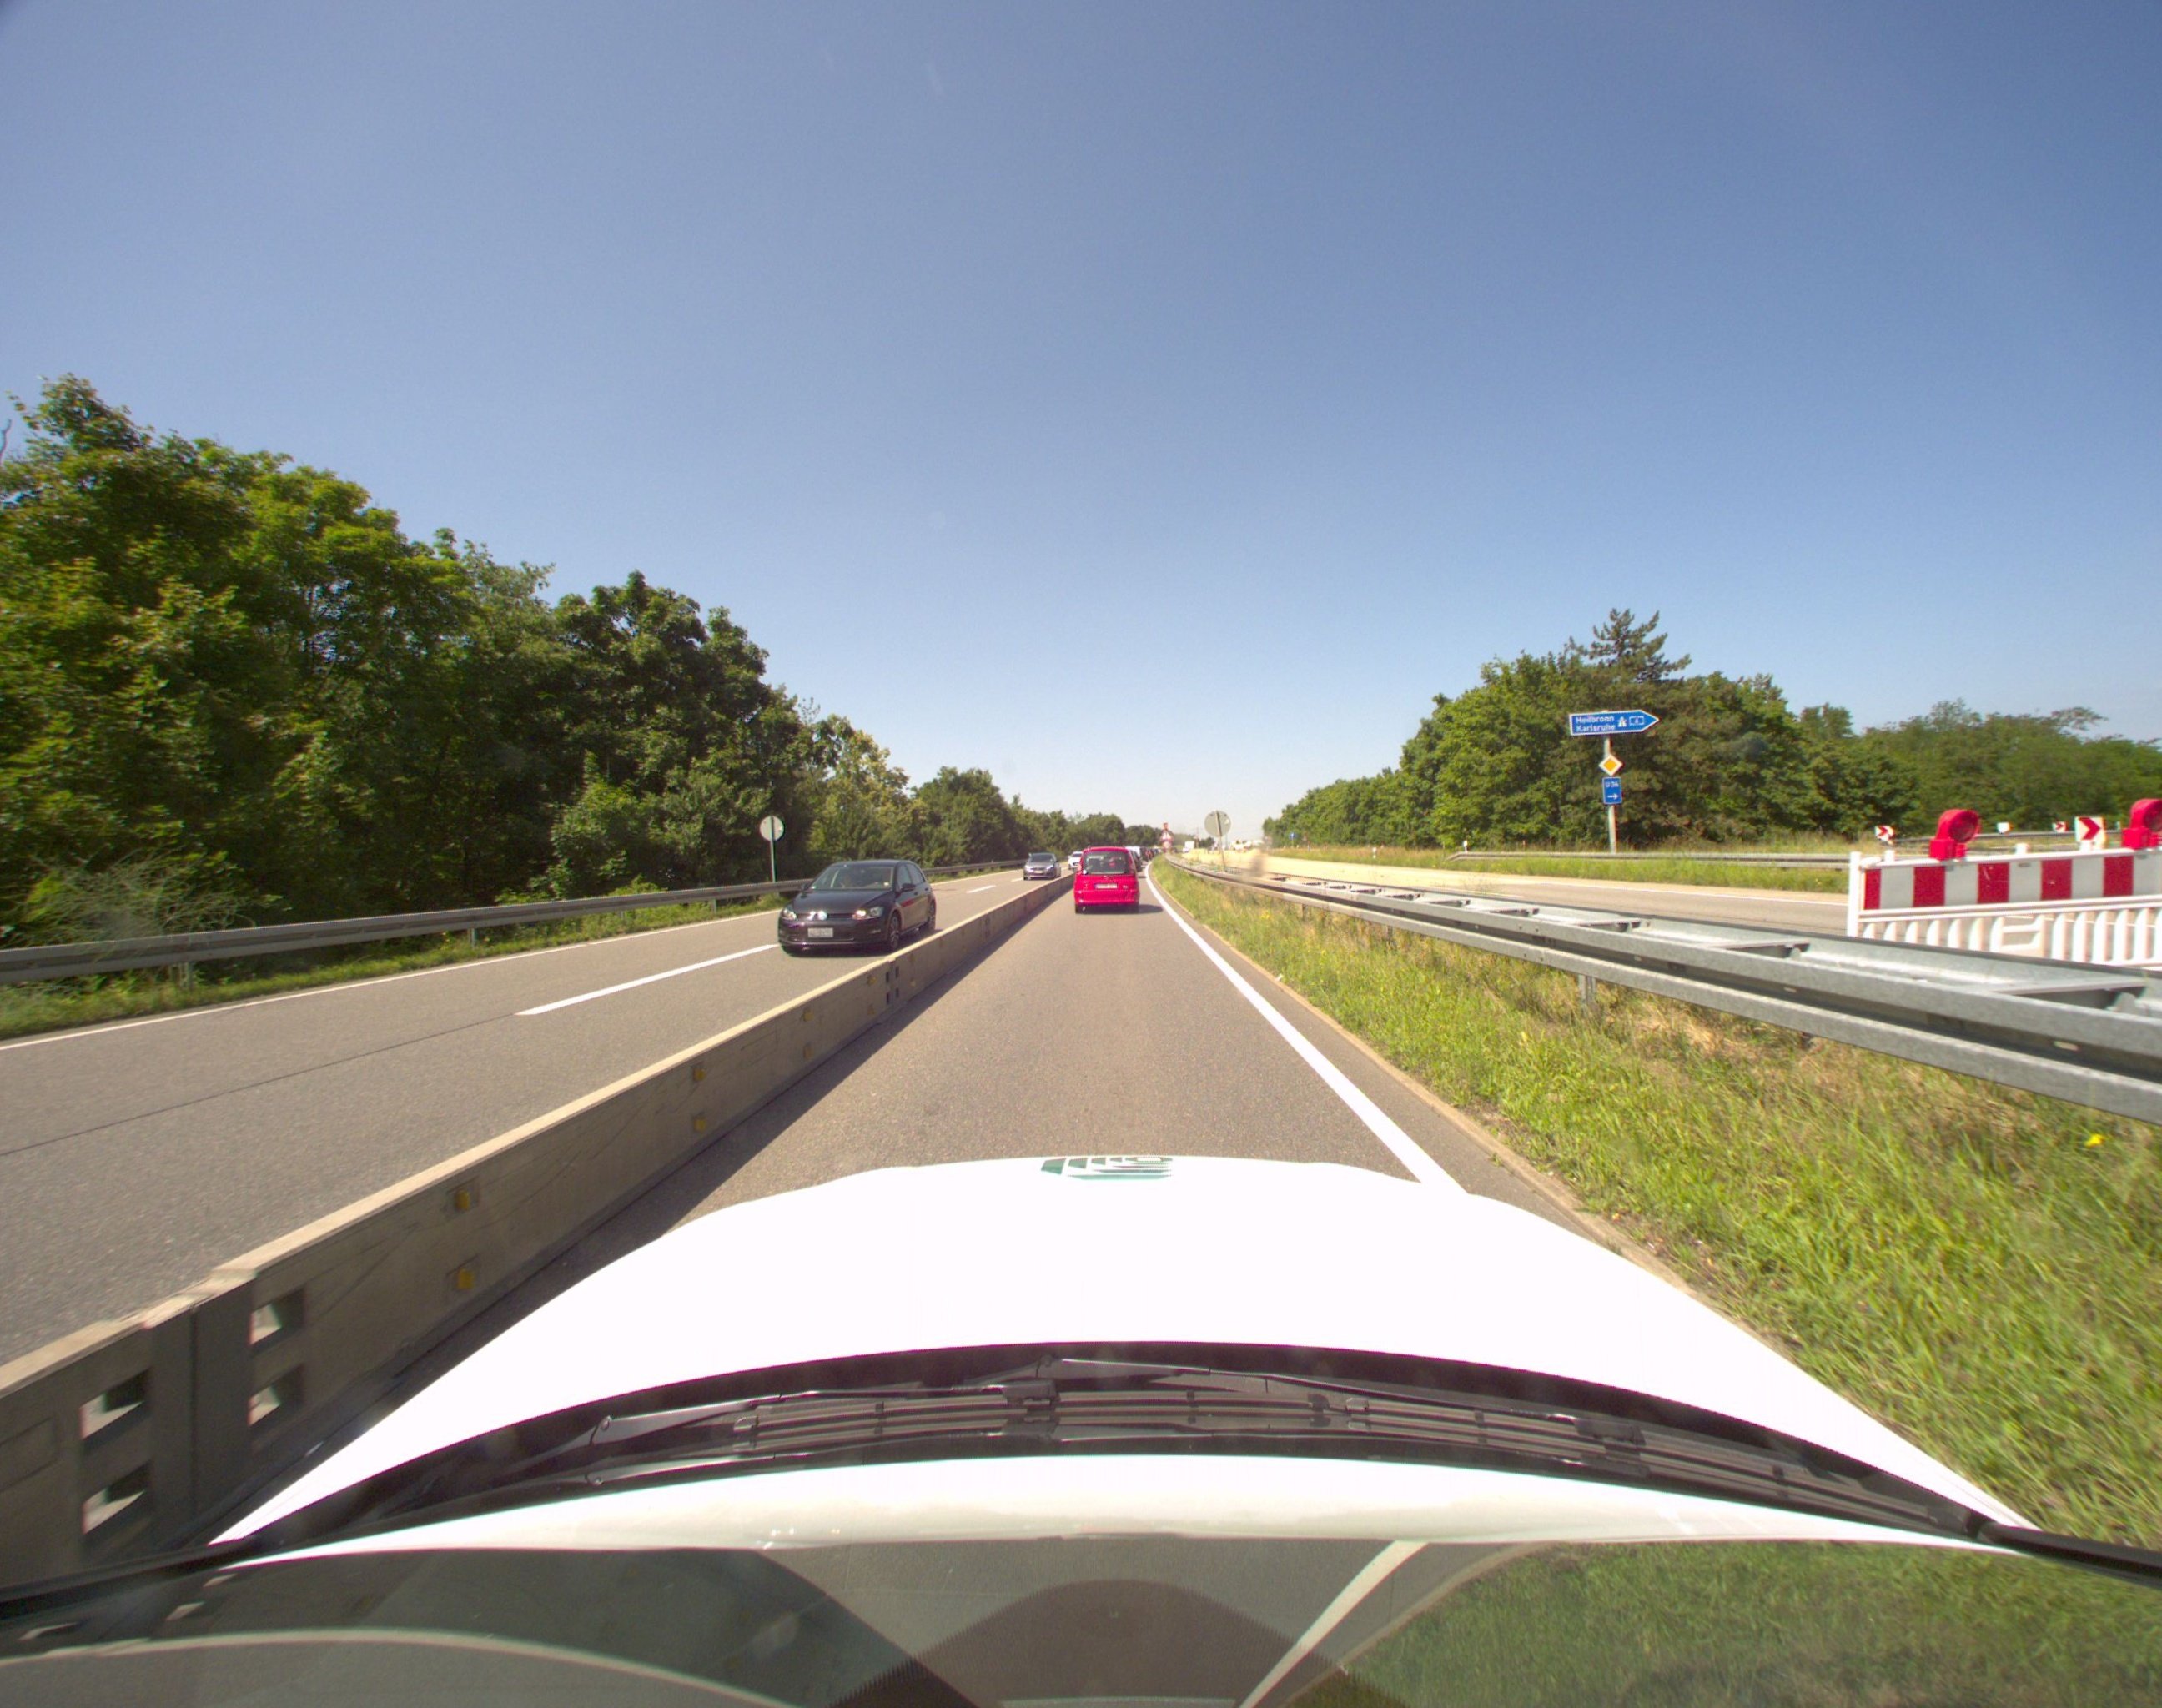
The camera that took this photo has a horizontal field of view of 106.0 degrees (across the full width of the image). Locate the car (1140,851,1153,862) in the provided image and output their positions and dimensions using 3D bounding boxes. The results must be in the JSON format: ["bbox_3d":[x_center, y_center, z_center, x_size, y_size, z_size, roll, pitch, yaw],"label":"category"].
[{"bbox_3d":[10.012,0.349,125.230,1.985,1.585,4.004,-1,0,4],"label":"car"}]

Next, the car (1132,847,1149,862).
[{"bbox_3d":[7.152,0.049,97.866,1.985,1.750,4.003,-2,0,3],"label":"car"}]

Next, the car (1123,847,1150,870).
[{"bbox_3d":[4.654,0.398,68.991,1.987,1.838,4.000,-2,0,1],"label":"car"}]

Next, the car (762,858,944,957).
[{"bbox_3d":[-3.733,0.810,14.121,1.808,1.424,4.111,0,0,3],"label":"car"}]

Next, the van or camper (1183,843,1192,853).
[{"bbox_3d":[30.709,-1.778,234.641,2.317,2.707,4.598,-2,0,4],"label":"van or camper"}]

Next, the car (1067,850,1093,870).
[{"bbox_3d":[-0.049,0.482,68.243,1.941,1.538,4.438,-2,0,2],"label":"car"}]

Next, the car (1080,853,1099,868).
[{"bbox_3d":[0.894,0.684,87.376,1.821,1.630,3.787,-1,0,3],"label":"car"}]

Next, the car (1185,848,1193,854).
[{"bbox_3d":[29.453,-0.904,222.142,1.984,1.486,4.006,-2,0,5],"label":"car"}]

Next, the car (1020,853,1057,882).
[{"bbox_3d":[-2.333,0.732,45.947,1.718,1.496,4.389,-1,0,1],"label":"car"}]

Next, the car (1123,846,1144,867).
[{"bbox_3d":[5.223,0.211,81.155,1.985,2.003,4.004,-2,0,4],"label":"car"}]

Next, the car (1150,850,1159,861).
[{"bbox_3d":[12.428,0.209,137.619,1.494,1.736,3.176,-1,0,7],"label":"car"}]

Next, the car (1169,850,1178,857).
[{"bbox_3d":[21.427,-0.196,188.715,1.983,1.552,4.007,-1,0,6],"label":"car"}]

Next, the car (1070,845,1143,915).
[{"bbox_3d":[0.678,0.631,21.783,1.745,1.673,4.002,-1,0,2],"label":"car"}]

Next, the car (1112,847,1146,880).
[{"bbox_3d":[2.718,0.521,46.732,1.823,1.722,4.001,-2,0,2],"label":"car"}]

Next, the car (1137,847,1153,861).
[{"bbox_3d":[8.672,0.023,110.710,1.986,1.783,4.001,-2,0,2],"label":"car"}]
